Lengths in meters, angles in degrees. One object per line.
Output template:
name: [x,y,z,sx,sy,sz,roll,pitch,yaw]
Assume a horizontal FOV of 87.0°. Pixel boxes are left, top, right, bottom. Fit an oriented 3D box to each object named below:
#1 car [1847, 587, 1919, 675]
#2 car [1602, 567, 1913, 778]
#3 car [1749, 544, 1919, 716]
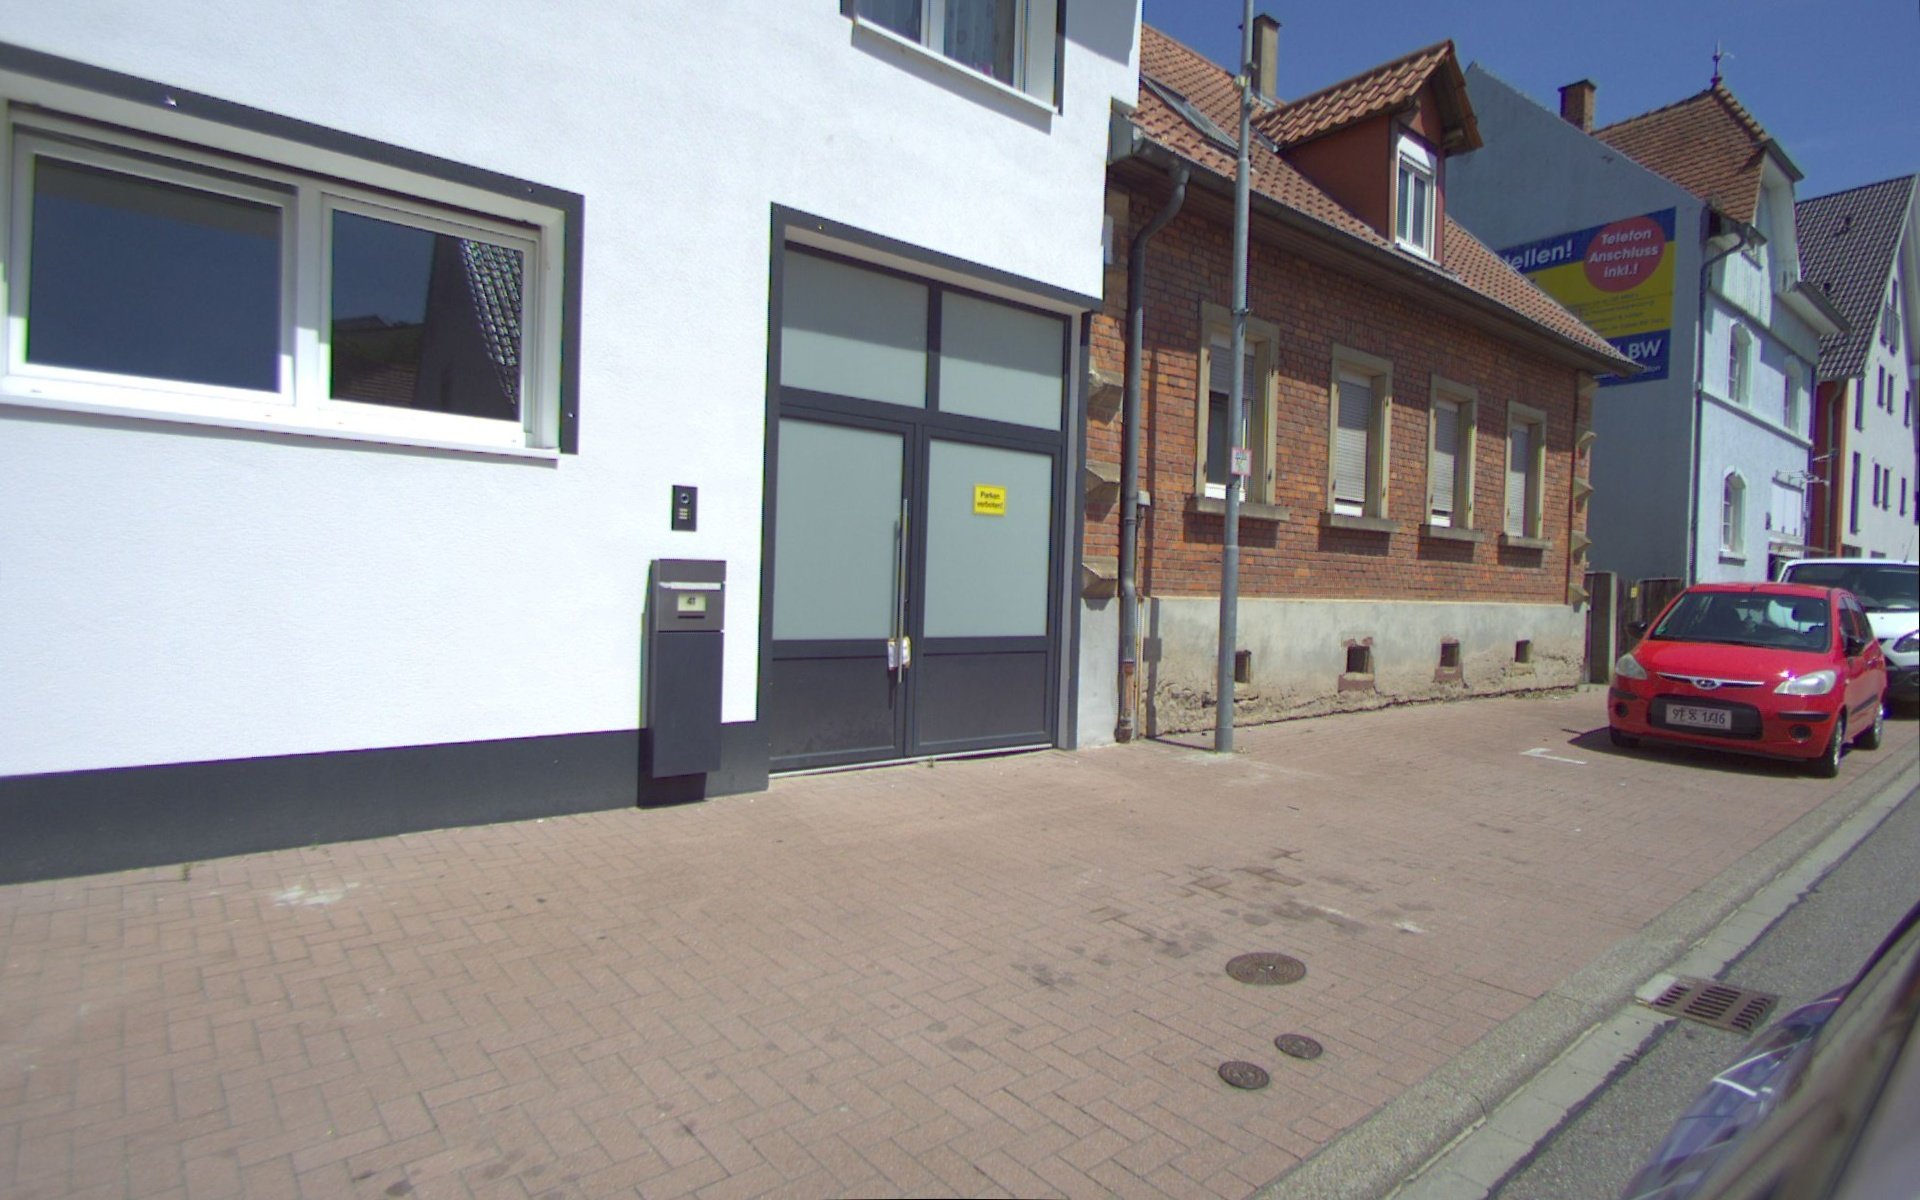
car: [18.252,0.552,18.982,4.497,1.484,1.774,0,2,-41]
car: [7.466,0.528,9.360,3.613,1.547,1.613,0,2,-42]
car: [12.501,0.328,13.793,4.703,1.994,1.949,0,2,-42]
